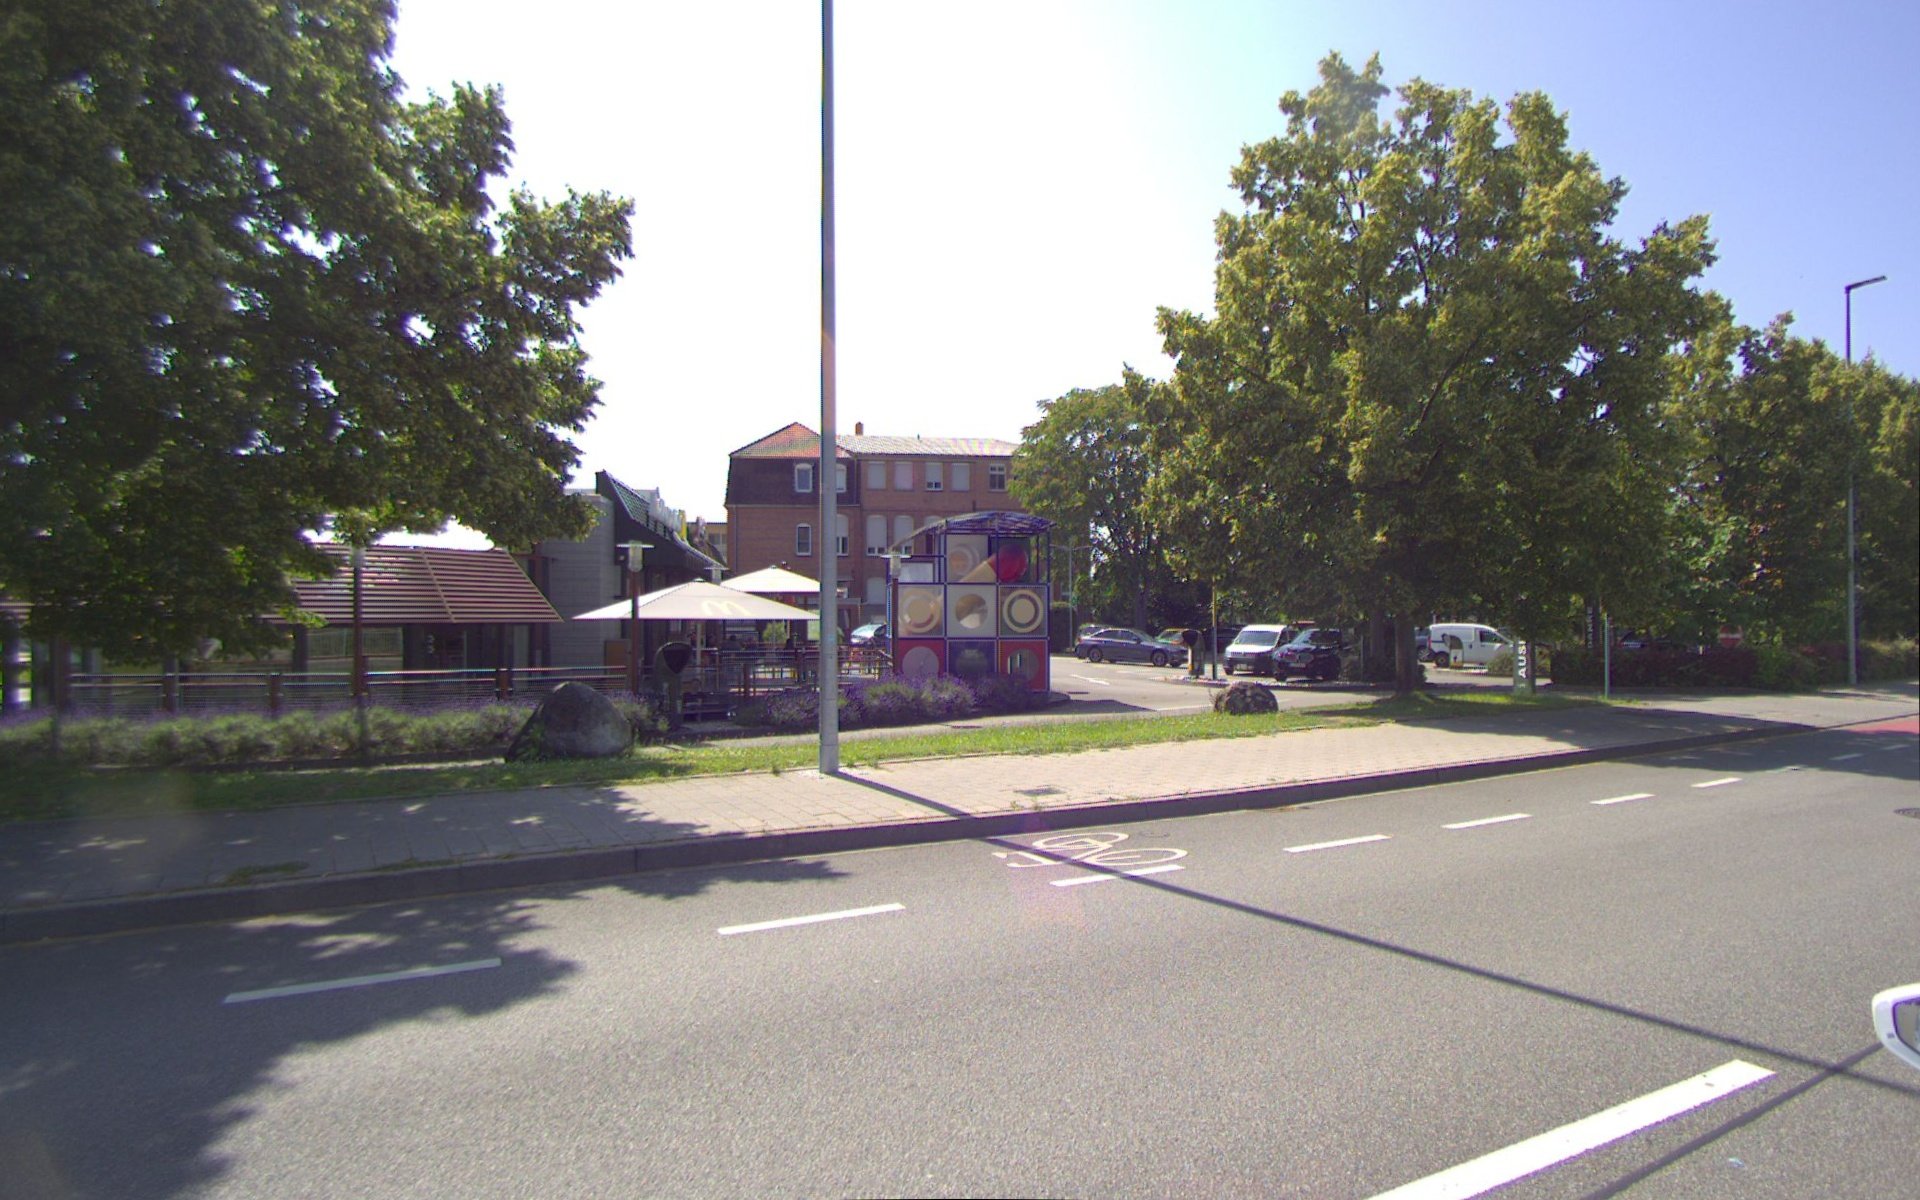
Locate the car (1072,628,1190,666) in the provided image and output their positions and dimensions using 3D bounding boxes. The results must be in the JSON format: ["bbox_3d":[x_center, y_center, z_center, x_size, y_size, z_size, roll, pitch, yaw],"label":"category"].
[{"bbox_3d":[6.933,1.882,40.854,4.316,1.457,1.995,-1,-2,32],"label":"car"}]

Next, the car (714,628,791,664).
[{"bbox_3d":[-13.221,2.927,64.065,4.721,2.206,1.995,0,-1,-14],"label":"car"}]

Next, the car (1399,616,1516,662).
[{"bbox_3d":[23.145,1.785,46.778,4.665,2.040,2.080,-1,-2,33],"label":"car"}]

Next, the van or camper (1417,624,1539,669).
[{"bbox_3d":[21.502,1.894,41.729,4.218,1.763,1.992,-1,-2,38],"label":"van or camper"}]

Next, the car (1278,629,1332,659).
[{"bbox_3d":[18.478,2.319,53.952,1.473,1.546,3.431,0,-1,-6],"label":"car"}]

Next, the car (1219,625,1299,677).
[{"bbox_3d":[10.808,1.787,36.118,1.689,1.758,4.238,-1,-2,32],"label":"car"}]

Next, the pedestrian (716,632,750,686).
[{"bbox_3d":[-6.468,1.673,28.650,0.744,1.493,0.828,1,-1,-31],"label":"pedestrian"}]

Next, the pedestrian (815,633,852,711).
[{"bbox_3d":[-3.402,1.920,26.967,0.744,2.040,0.828,0,-1,-31],"label":"pedestrian"}]

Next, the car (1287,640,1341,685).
[{"bbox_3d":[11.629,2.006,32.986,1.577,1.303,4.000,-1,-2,20],"label":"car"}]

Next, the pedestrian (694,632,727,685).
[{"bbox_3d":[-7.272,1.688,29.252,0.744,1.493,0.828,1,-1,-31],"label":"pedestrian"}]

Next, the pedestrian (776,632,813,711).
[{"bbox_3d":[-4.412,1.881,26.719,0.744,2.040,0.828,0,-1,-31],"label":"pedestrian"}]
